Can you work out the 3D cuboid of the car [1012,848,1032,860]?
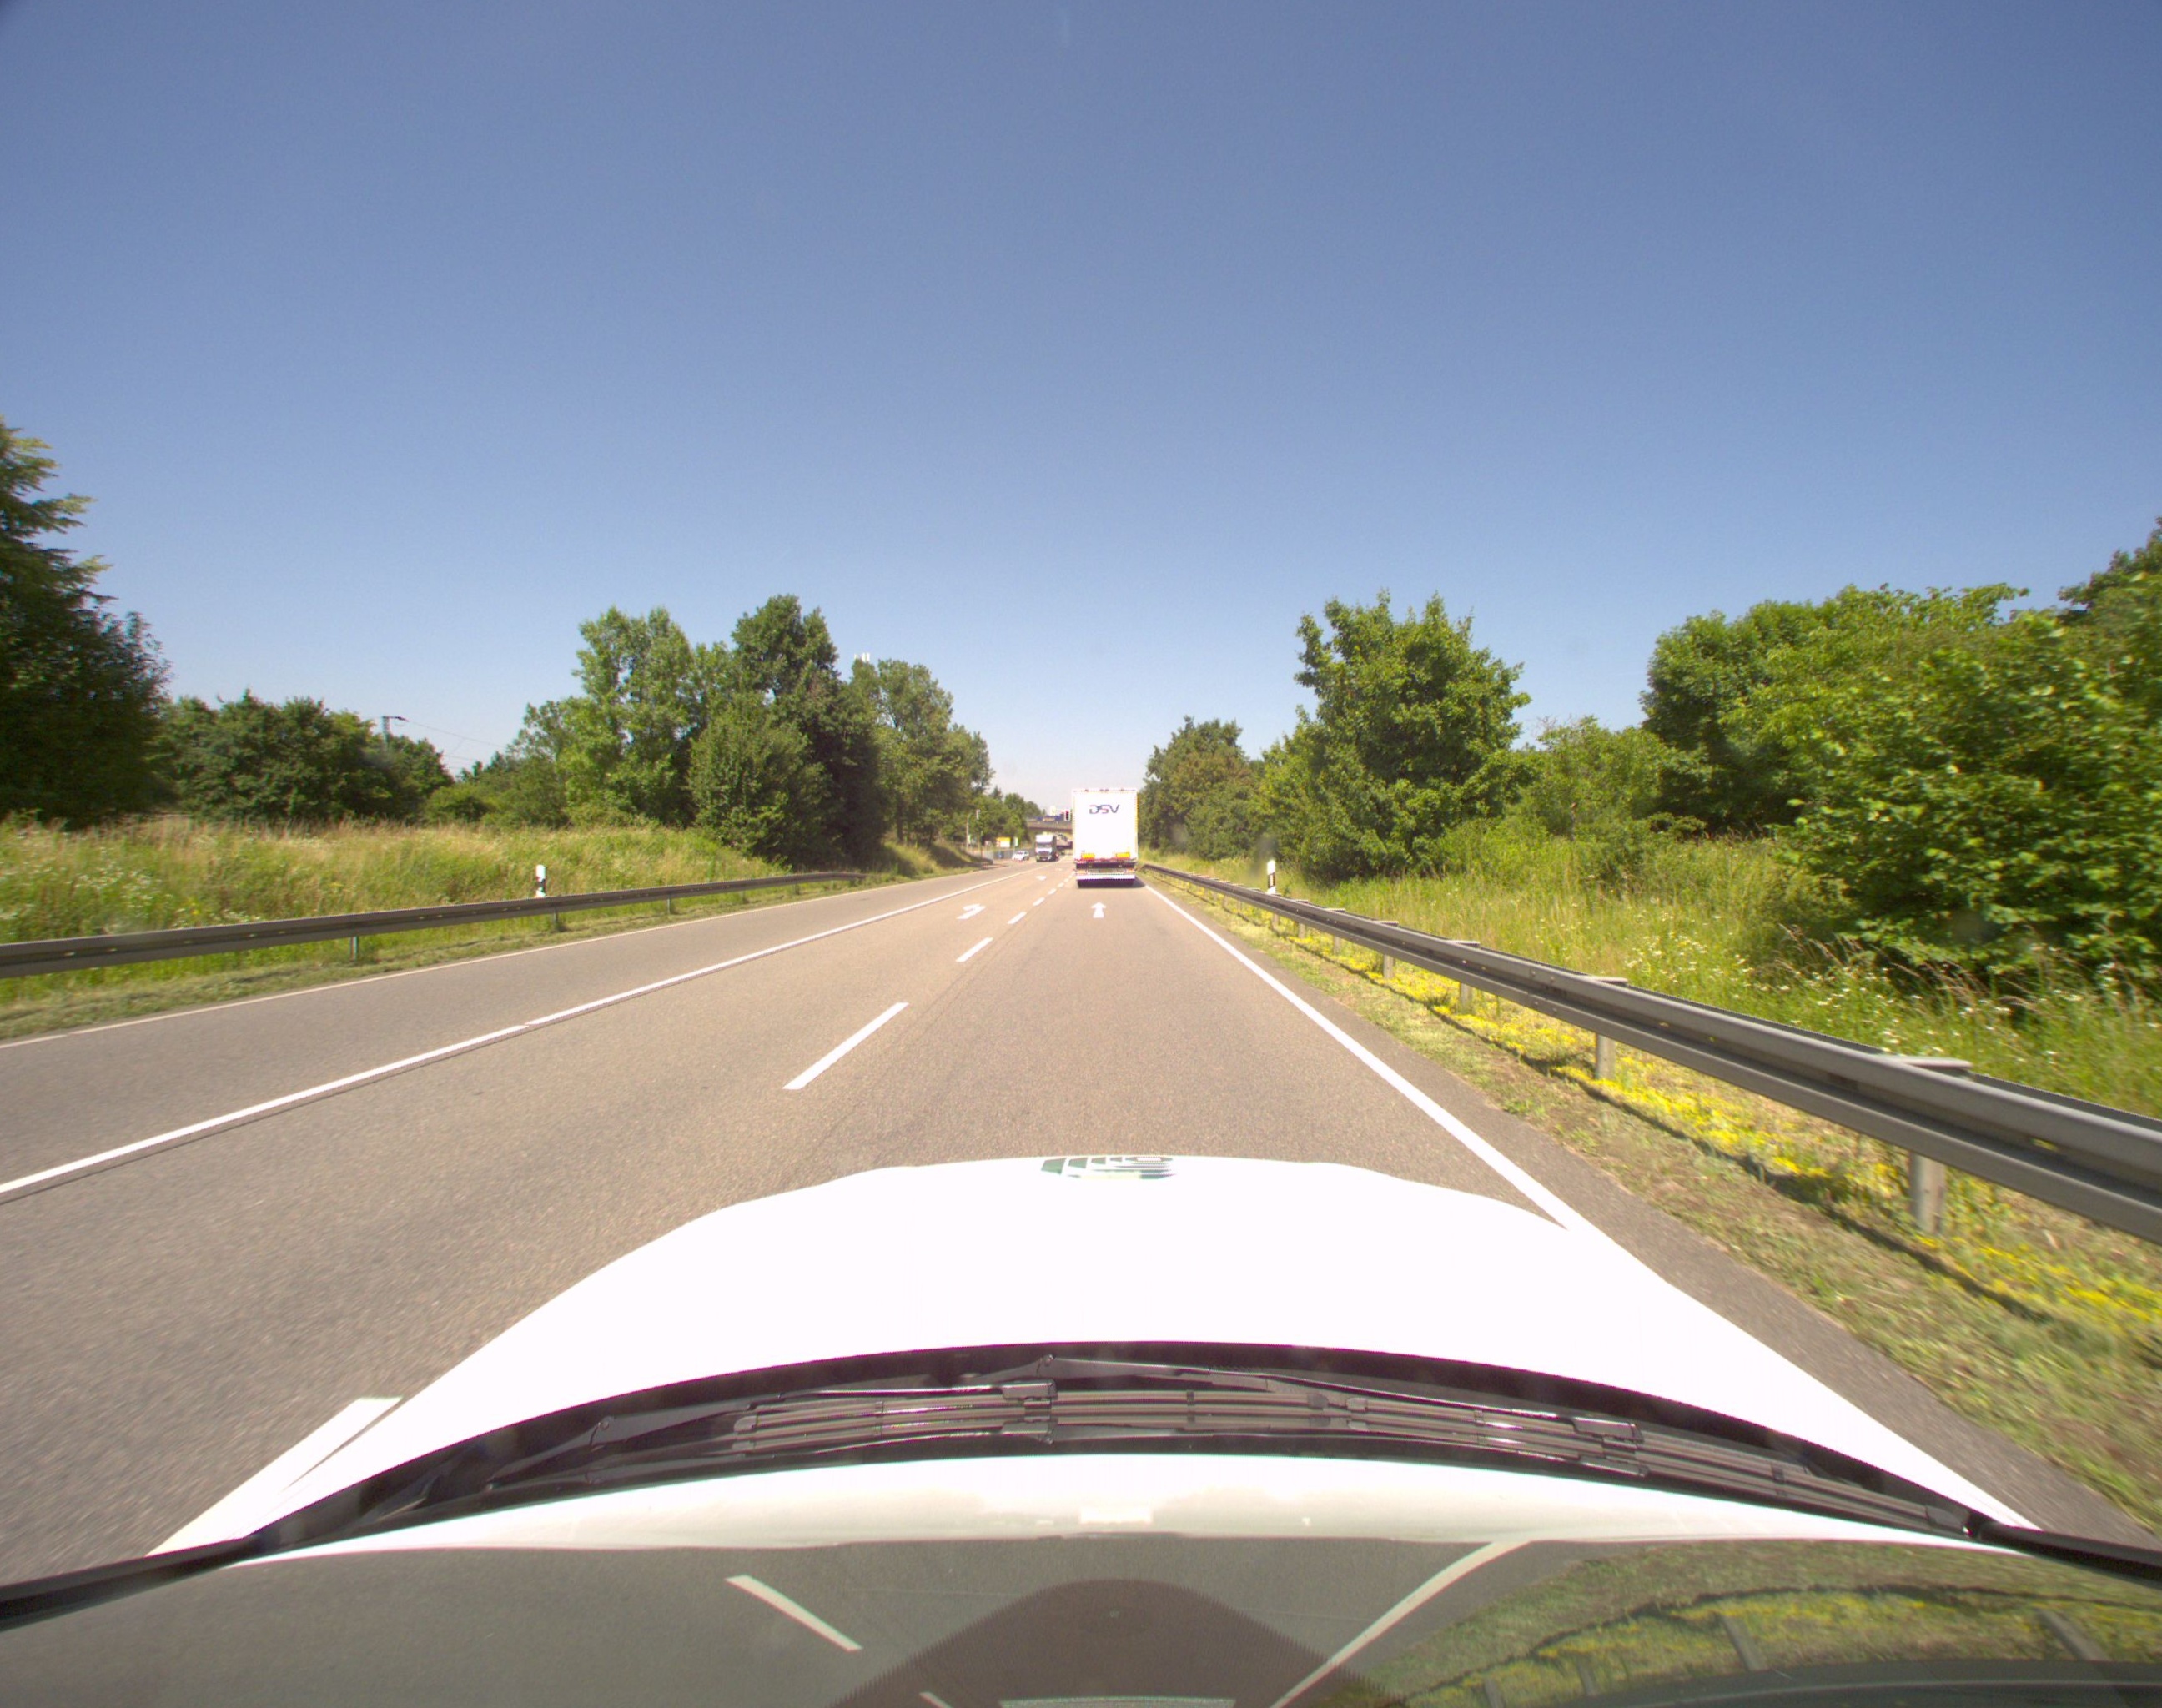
[{"bbox_3d":[-9.759,0.055,134.914,1.787,1.872,4.440,-1,1,17],"label":"car"}]

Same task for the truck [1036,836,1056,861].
[{"bbox_3d":[-5.363,-0.935,127.784,2.345,3.749,12.627,-1,1,1],"label":"truck"}]

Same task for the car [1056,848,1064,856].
[{"bbox_3d":[-4.686,-0.456,181.827,1.741,1.626,3.703,-1,1,0],"label":"car"}]

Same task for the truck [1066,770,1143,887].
[{"bbox_3d":[1.111,-1.020,36.897,2.938,4.568,9.868,-1,0,2],"label":"truck"}]

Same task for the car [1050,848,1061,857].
[{"bbox_3d":[-4.529,-0.300,145.466,1.741,1.626,3.703,-1,1,0],"label":"car"}]
